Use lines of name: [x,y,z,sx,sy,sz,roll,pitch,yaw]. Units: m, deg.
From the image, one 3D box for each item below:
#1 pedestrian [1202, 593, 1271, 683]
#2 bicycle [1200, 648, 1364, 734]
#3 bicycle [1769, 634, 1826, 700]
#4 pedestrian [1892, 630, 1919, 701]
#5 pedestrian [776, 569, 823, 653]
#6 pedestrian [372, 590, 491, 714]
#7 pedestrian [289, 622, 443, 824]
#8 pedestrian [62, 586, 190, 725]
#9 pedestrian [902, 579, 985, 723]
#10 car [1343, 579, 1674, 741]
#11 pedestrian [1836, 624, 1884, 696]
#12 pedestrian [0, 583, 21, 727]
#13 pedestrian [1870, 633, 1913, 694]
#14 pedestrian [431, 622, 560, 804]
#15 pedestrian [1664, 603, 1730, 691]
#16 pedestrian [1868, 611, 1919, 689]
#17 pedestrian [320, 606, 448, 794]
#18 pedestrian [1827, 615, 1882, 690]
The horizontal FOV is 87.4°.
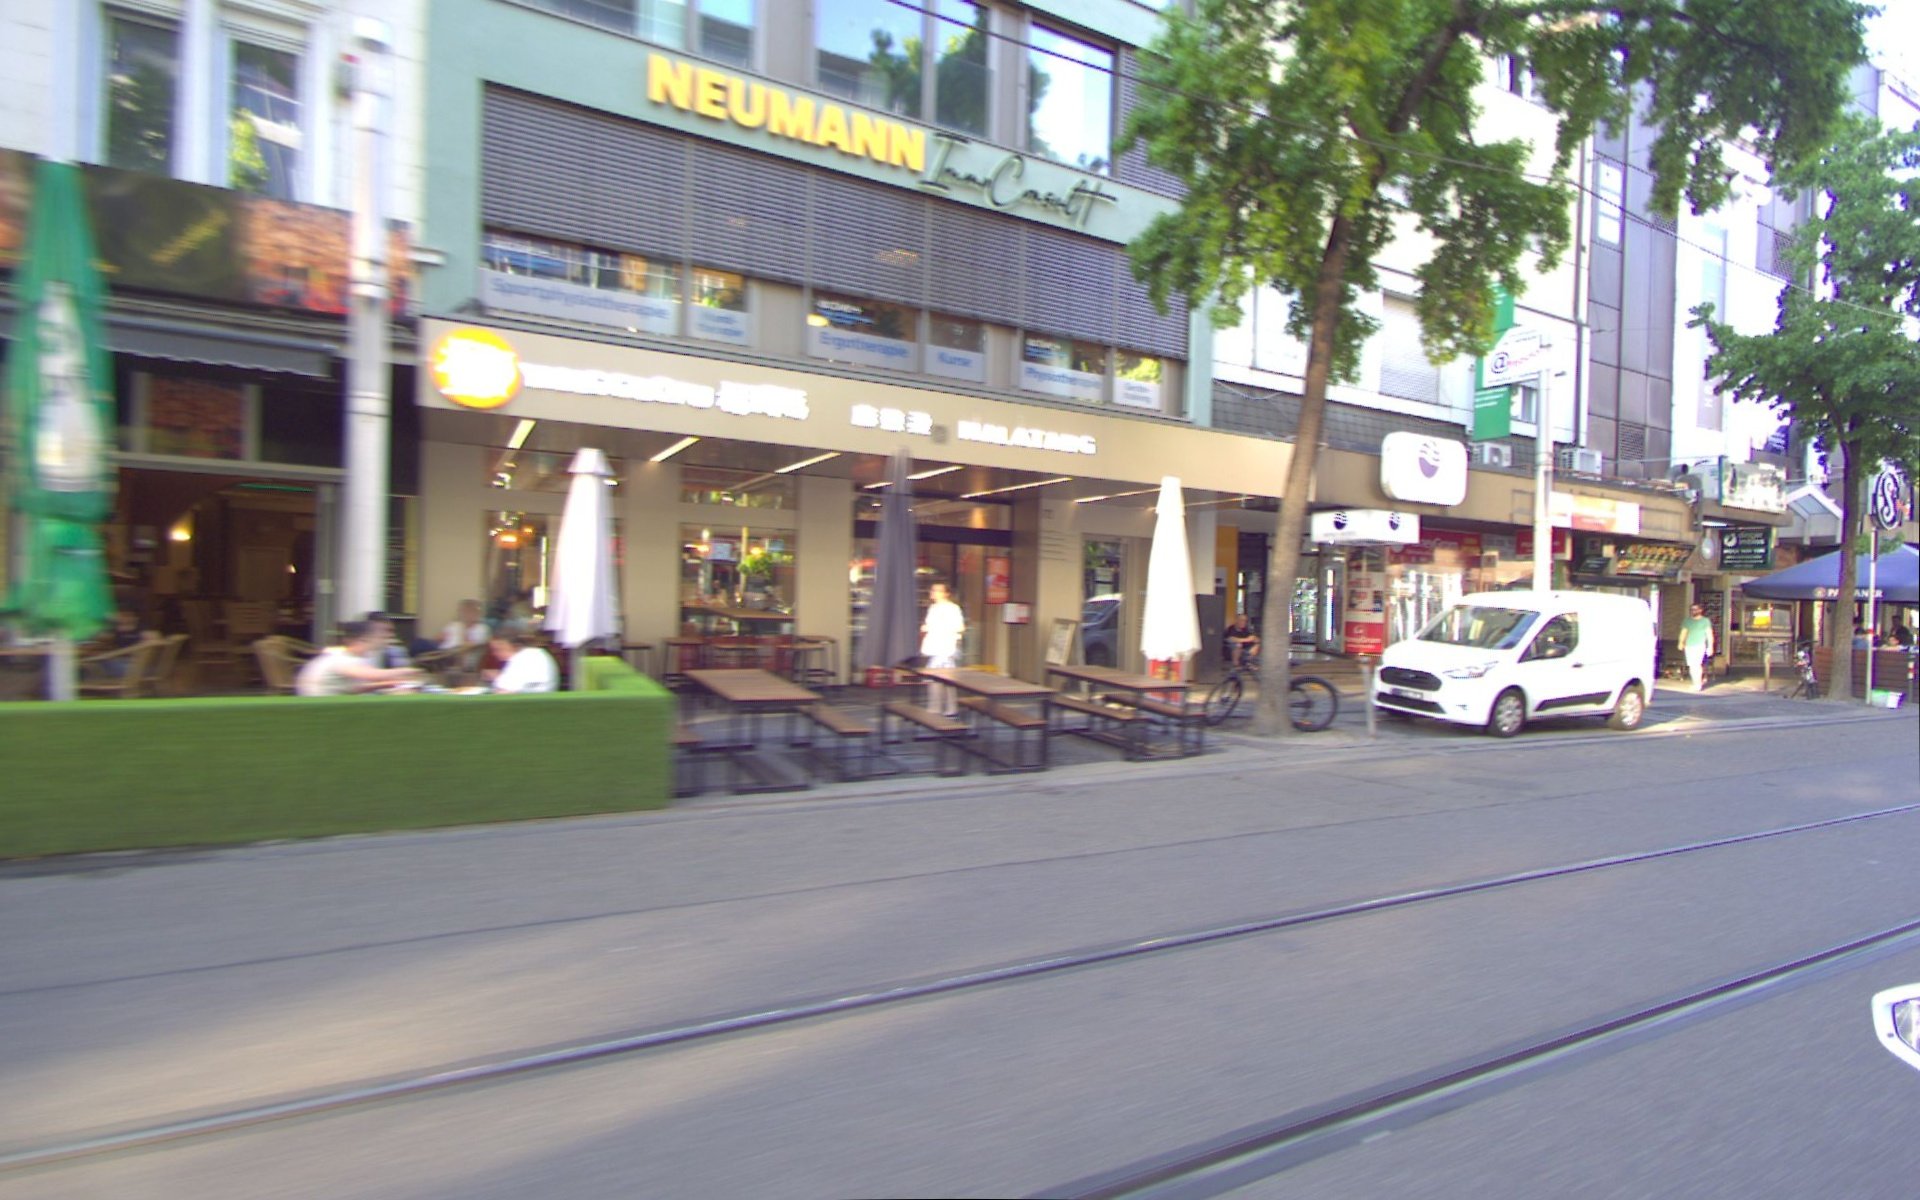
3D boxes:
pedestrian: [4.813,0.652,17.482,0.756,1.486,0.765,1,3,-31]
bicycle: [3.987,1.121,12.588,1.823,0.876,0.837,3,2,10]
bicycle: [16.755,1.306,20.074,0.690,1.136,2.074,5,3,43]
pedestrian: [19.117,1.302,20.063,0.576,1.374,0.547,1,1,-30]
pedestrian: [-3.220,0.223,20.155,0.697,1.626,0.695,2,3,-27]
pedestrian: [-5.596,0.532,10.648,1.052,1.204,0.749,1,3,-30]
pedestrian: [-4.123,0.817,7.015,0.862,1.261,0.653,1,3,-30]
pedestrian: [-7.698,0.493,9.308,0.778,1.184,0.697,1,3,-30]
pedestrian: [-0.201,0.579,11.766,0.692,1.595,0.644,1,3,-29]
car: [7.650,0.763,13.925,4.497,1.890,1.788,2,2,-28]
pedestrian: [18.664,1.228,20.830,0.576,1.448,0.547,1,1,-30]
pedestrian: [-8.744,0.476,8.661,0.778,1.230,0.733,1,3,-30]
pedestrian: [19.900,1.350,21.454,0.529,1.244,0.492,1,1,-30]
pedestrian: [-3.425,0.798,7.391,0.788,1.209,0.653,1,3,-30]
pedestrian: [14.922,0.943,20.340,0.993,1.708,0.663,1,2,-30]
pedestrian: [21.785,1.149,23.408,0.667,1.748,0.714,1,1,-30]
pedestrian: [-4.371,0.728,7.651,0.788,1.310,0.653,1,3,-30]
pedestrian: [20.200,1.172,22.687,0.711,1.628,0.670,1,1,-30]
